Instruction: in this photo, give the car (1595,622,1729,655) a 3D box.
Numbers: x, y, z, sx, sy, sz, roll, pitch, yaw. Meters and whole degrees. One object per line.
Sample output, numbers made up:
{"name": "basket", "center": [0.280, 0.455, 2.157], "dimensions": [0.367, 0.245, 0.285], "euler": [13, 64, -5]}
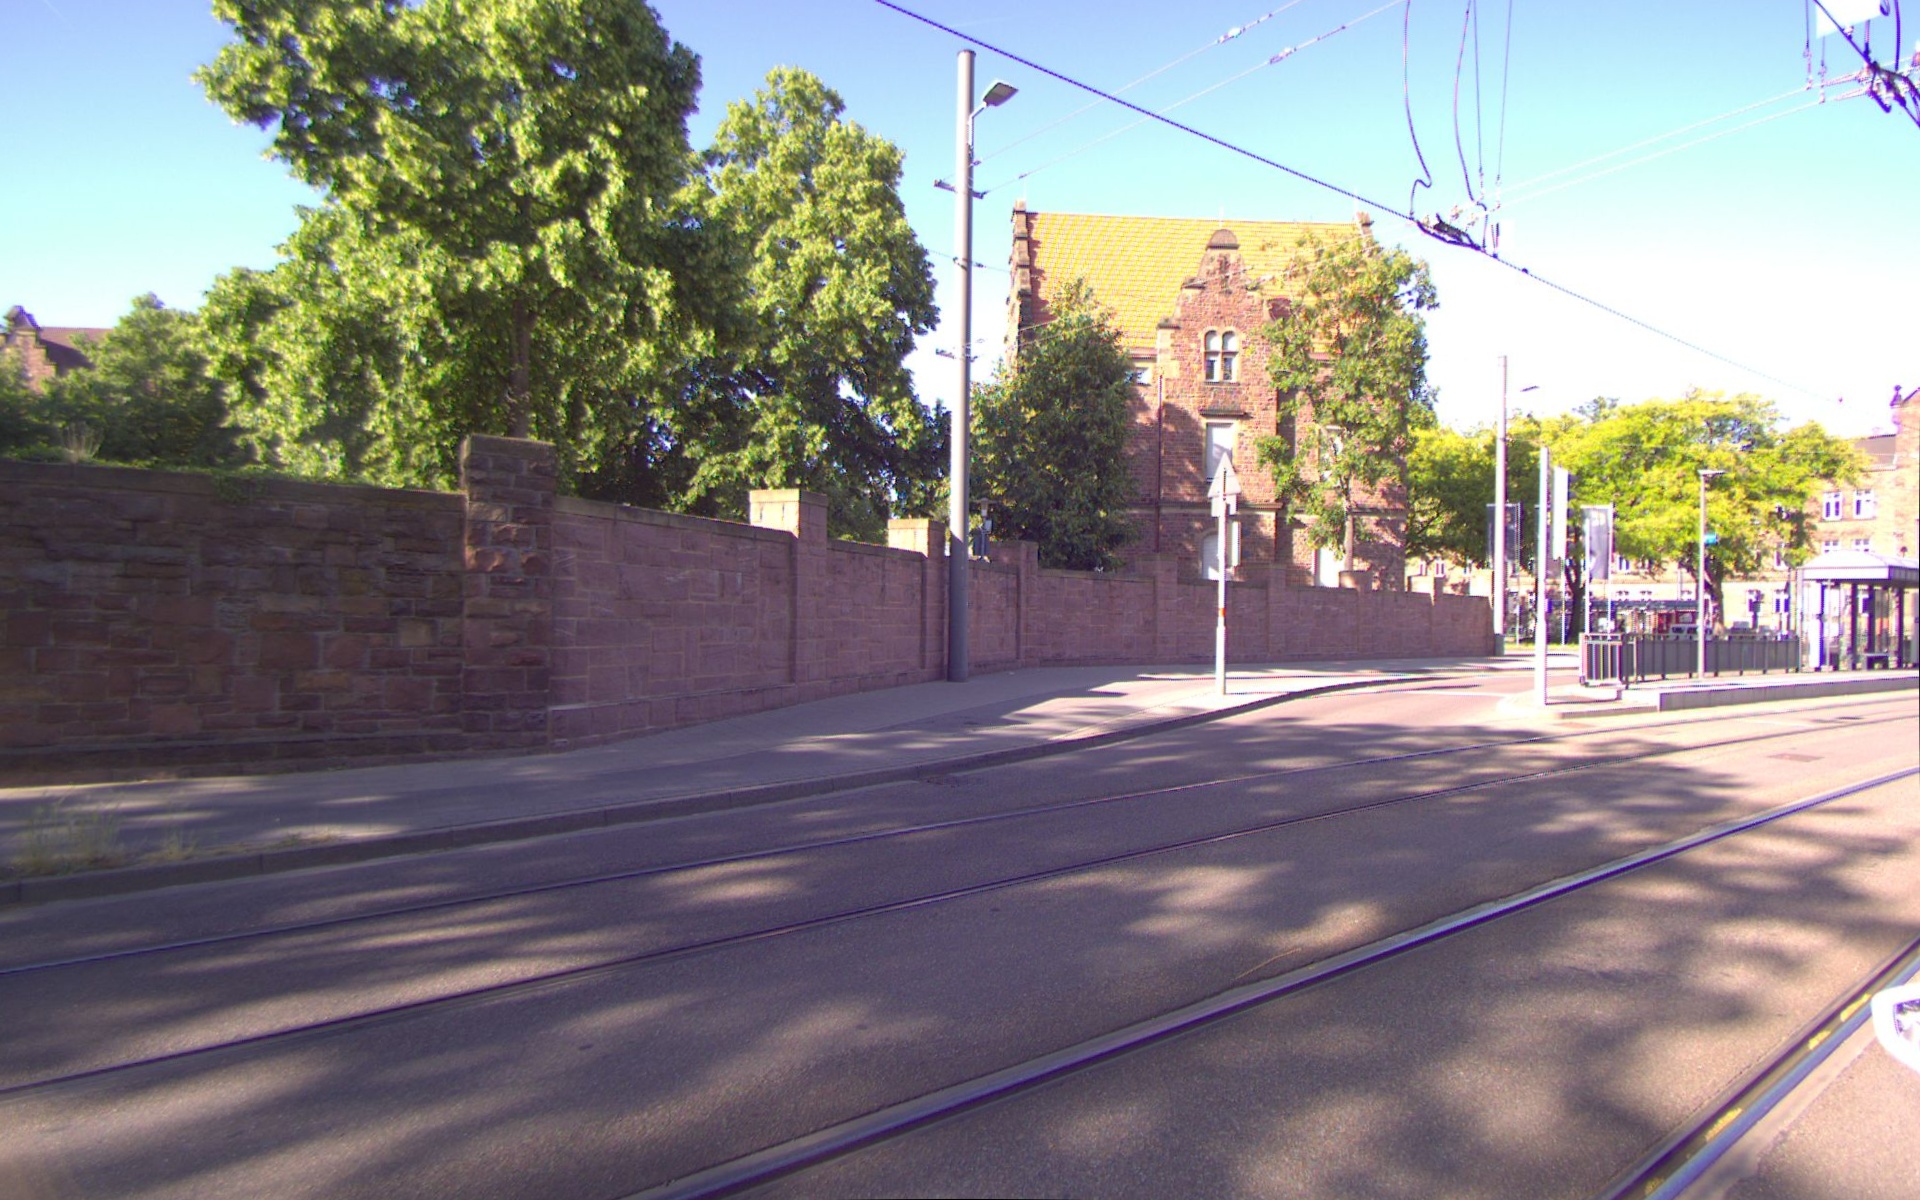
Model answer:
{"name": "car", "center": [47.926, 2.595, 68.796], "dimensions": [2.957, 1.946, 6.915], "euler": [1, -1, -30]}
